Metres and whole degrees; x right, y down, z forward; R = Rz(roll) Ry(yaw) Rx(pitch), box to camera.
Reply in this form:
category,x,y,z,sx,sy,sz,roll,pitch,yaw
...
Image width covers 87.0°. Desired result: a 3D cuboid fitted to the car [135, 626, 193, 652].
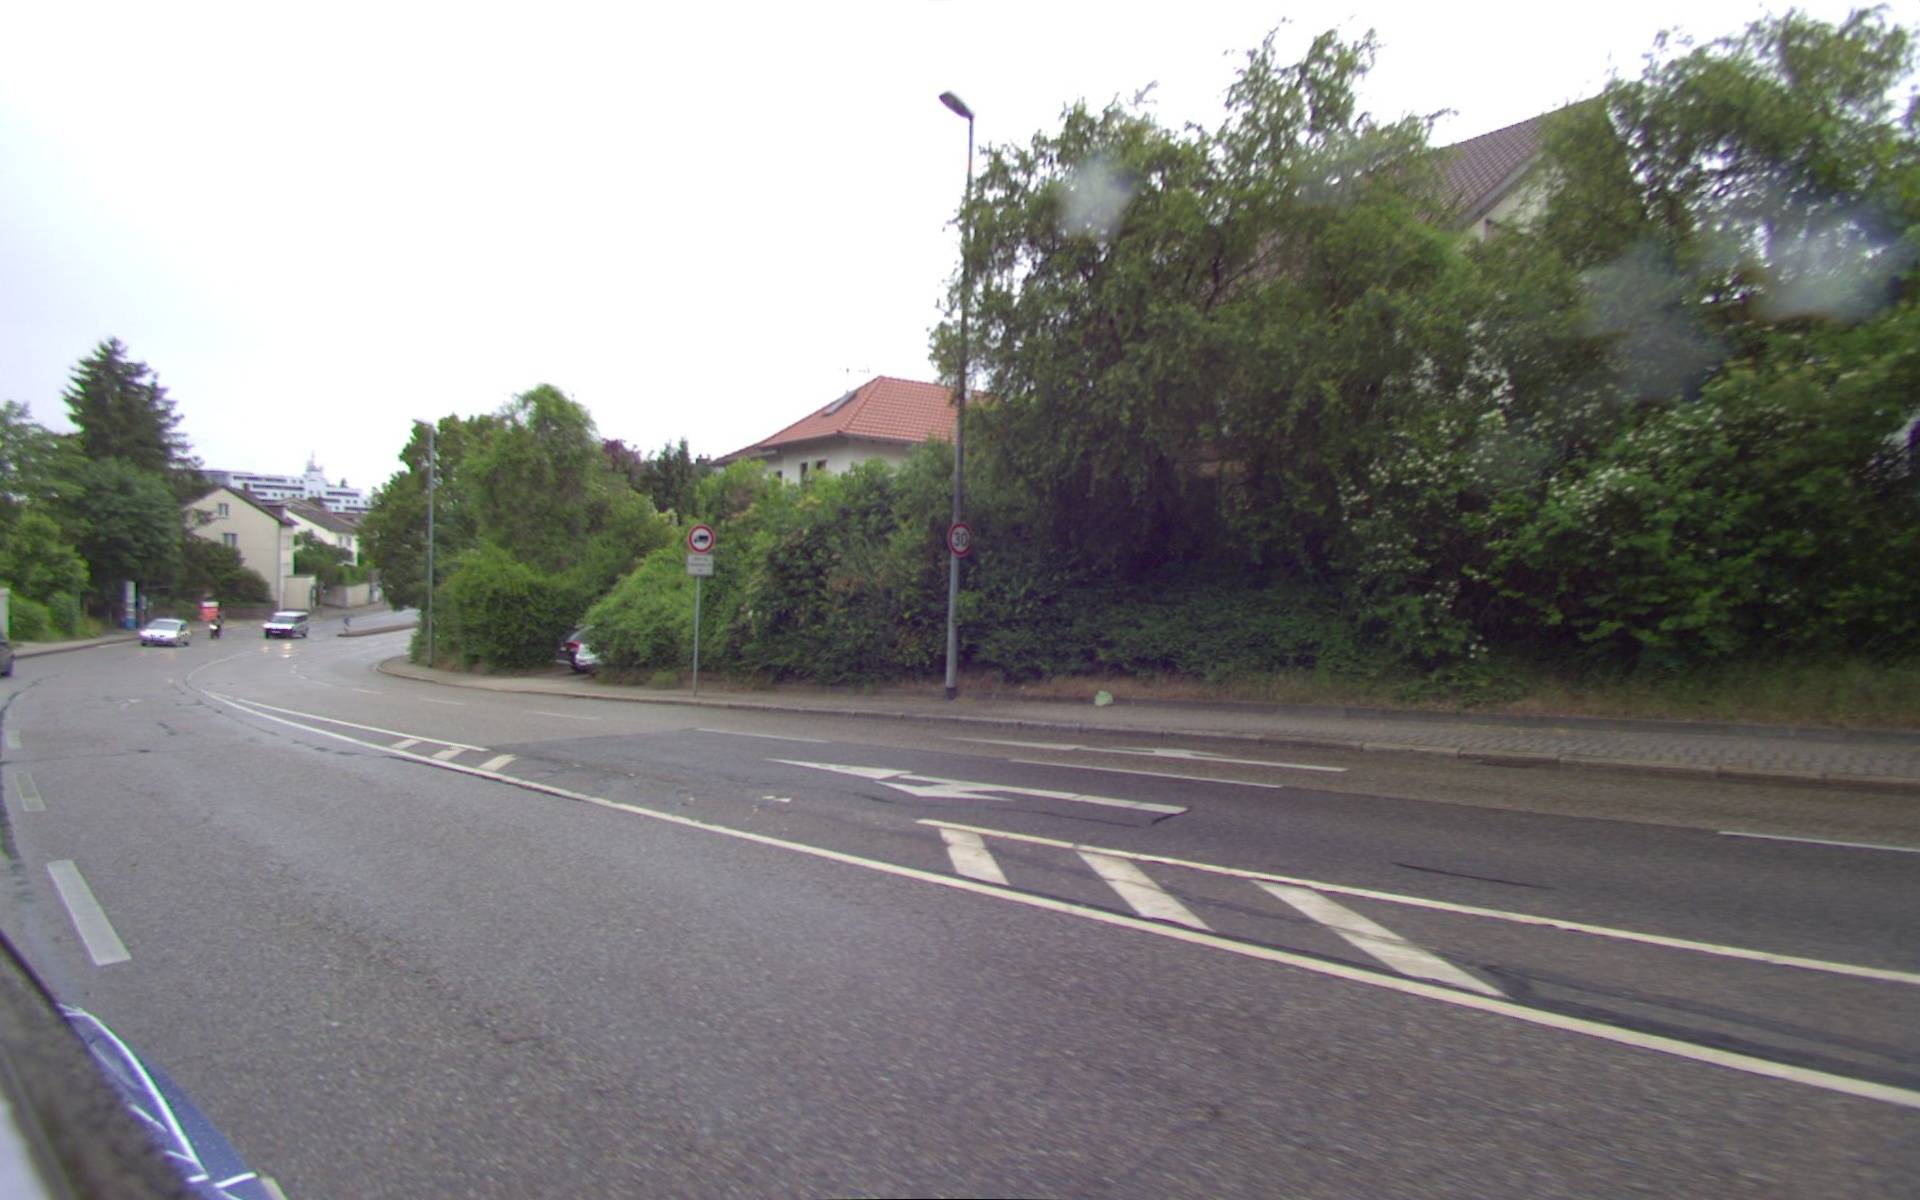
category,x,y,z,sx,sy,sz,roll,pitch,yaw
car,-46.185,2.266,58.796,1.787,1.450,4.013,4,-3,-27

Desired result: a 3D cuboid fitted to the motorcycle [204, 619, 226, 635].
category,x,y,z,sx,sy,sz,roll,pitch,yaw
motorcycle,-50.952,1.842,69.246,0.681,1.061,1.753,3,-2,-19

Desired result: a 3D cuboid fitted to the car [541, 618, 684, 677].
category,x,y,z,sx,sy,sz,roll,pitch,yaw
car,-11.443,1.526,33.420,3.940,1.548,2.002,-5,1,-43

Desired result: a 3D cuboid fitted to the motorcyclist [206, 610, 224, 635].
category,x,y,z,sx,sy,sz,roll,pitch,yaw
motorcyclist,-50.966,1.538,69.280,0.754,1.655,0.676,2,-3,-19

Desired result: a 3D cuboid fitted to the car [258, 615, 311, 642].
category,x,y,z,sx,sy,sz,roll,pitch,yaw
car,-48.892,2.073,73.332,1.749,1.788,4.009,3,-3,-12

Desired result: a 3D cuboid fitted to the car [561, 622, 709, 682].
category,x,y,z,sx,sy,sz,roll,pitch,yaw
car,-9.911,1.547,31.005,3.854,1.451,1.813,-5,1,-42
